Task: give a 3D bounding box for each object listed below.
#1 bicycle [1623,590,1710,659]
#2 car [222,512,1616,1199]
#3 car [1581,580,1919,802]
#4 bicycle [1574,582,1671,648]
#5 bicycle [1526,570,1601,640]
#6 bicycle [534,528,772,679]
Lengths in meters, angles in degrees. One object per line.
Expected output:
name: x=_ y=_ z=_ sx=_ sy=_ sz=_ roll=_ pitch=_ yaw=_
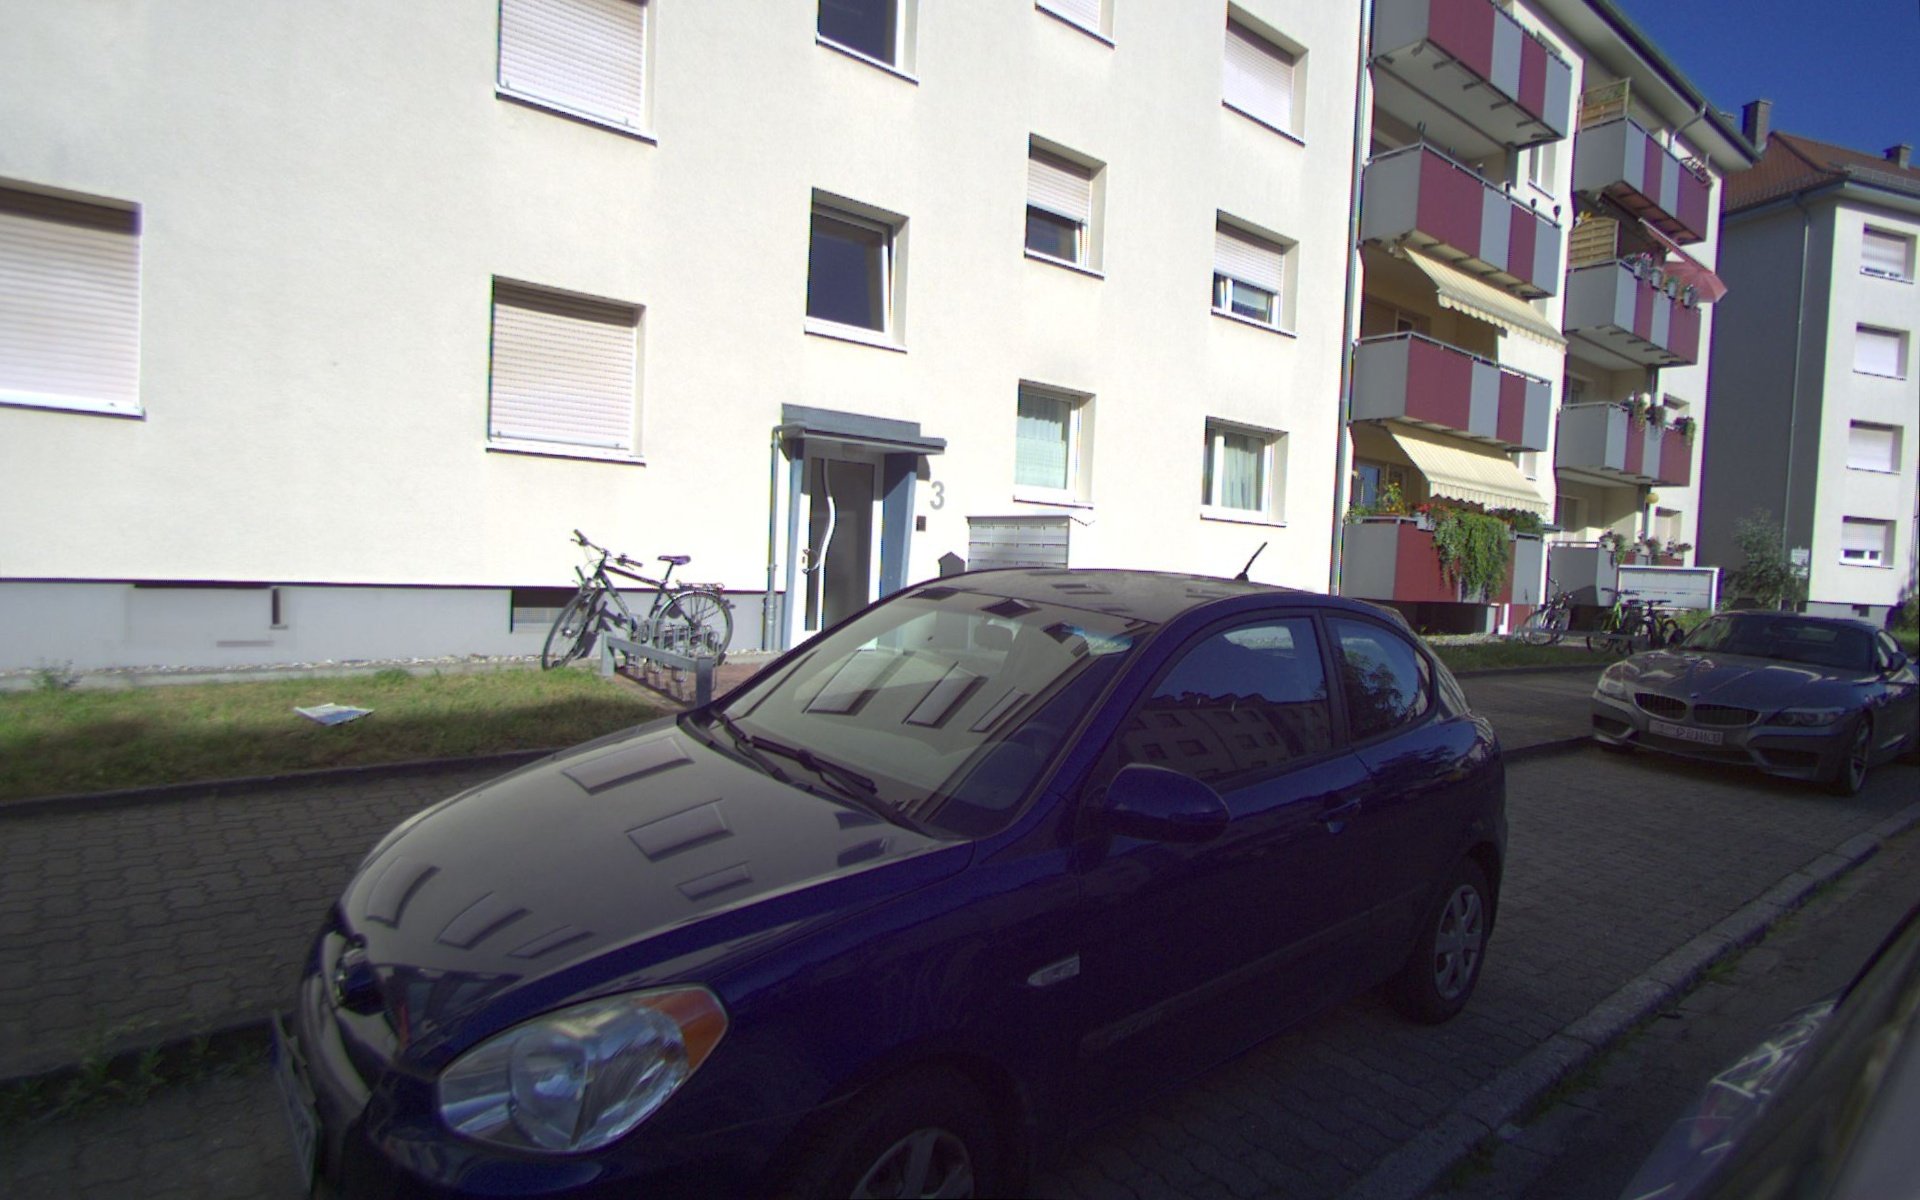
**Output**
bicycle: x=11.445 y=0.373 z=16.381 sx=1.807 sy=1.032 sz=0.499 roll=0 pitch=5 yaw=-36
car: x=0.335 y=0.567 z=3.256 sx=4.279 sy=1.448 sz=1.742 roll=-1 pitch=6 yaw=-41
car: x=7.306 y=0.617 z=8.850 sx=4.161 sy=1.379 sz=1.692 roll=0 pitch=6 yaw=-37
bicycle: x=11.155 y=0.265 z=17.027 sx=1.859 sy=0.989 sz=0.620 roll=2 pitch=5 yaw=-35
bicycle: x=10.622 y=0.080 z=17.784 sx=1.729 sy=1.164 sz=0.409 roll=0 pitch=5 yaw=-36
bicycle: x=-2.506 y=0.028 z=8.348 sx=1.701 sy=1.080 sz=0.652 roll=1 pitch=7 yaw=-39
